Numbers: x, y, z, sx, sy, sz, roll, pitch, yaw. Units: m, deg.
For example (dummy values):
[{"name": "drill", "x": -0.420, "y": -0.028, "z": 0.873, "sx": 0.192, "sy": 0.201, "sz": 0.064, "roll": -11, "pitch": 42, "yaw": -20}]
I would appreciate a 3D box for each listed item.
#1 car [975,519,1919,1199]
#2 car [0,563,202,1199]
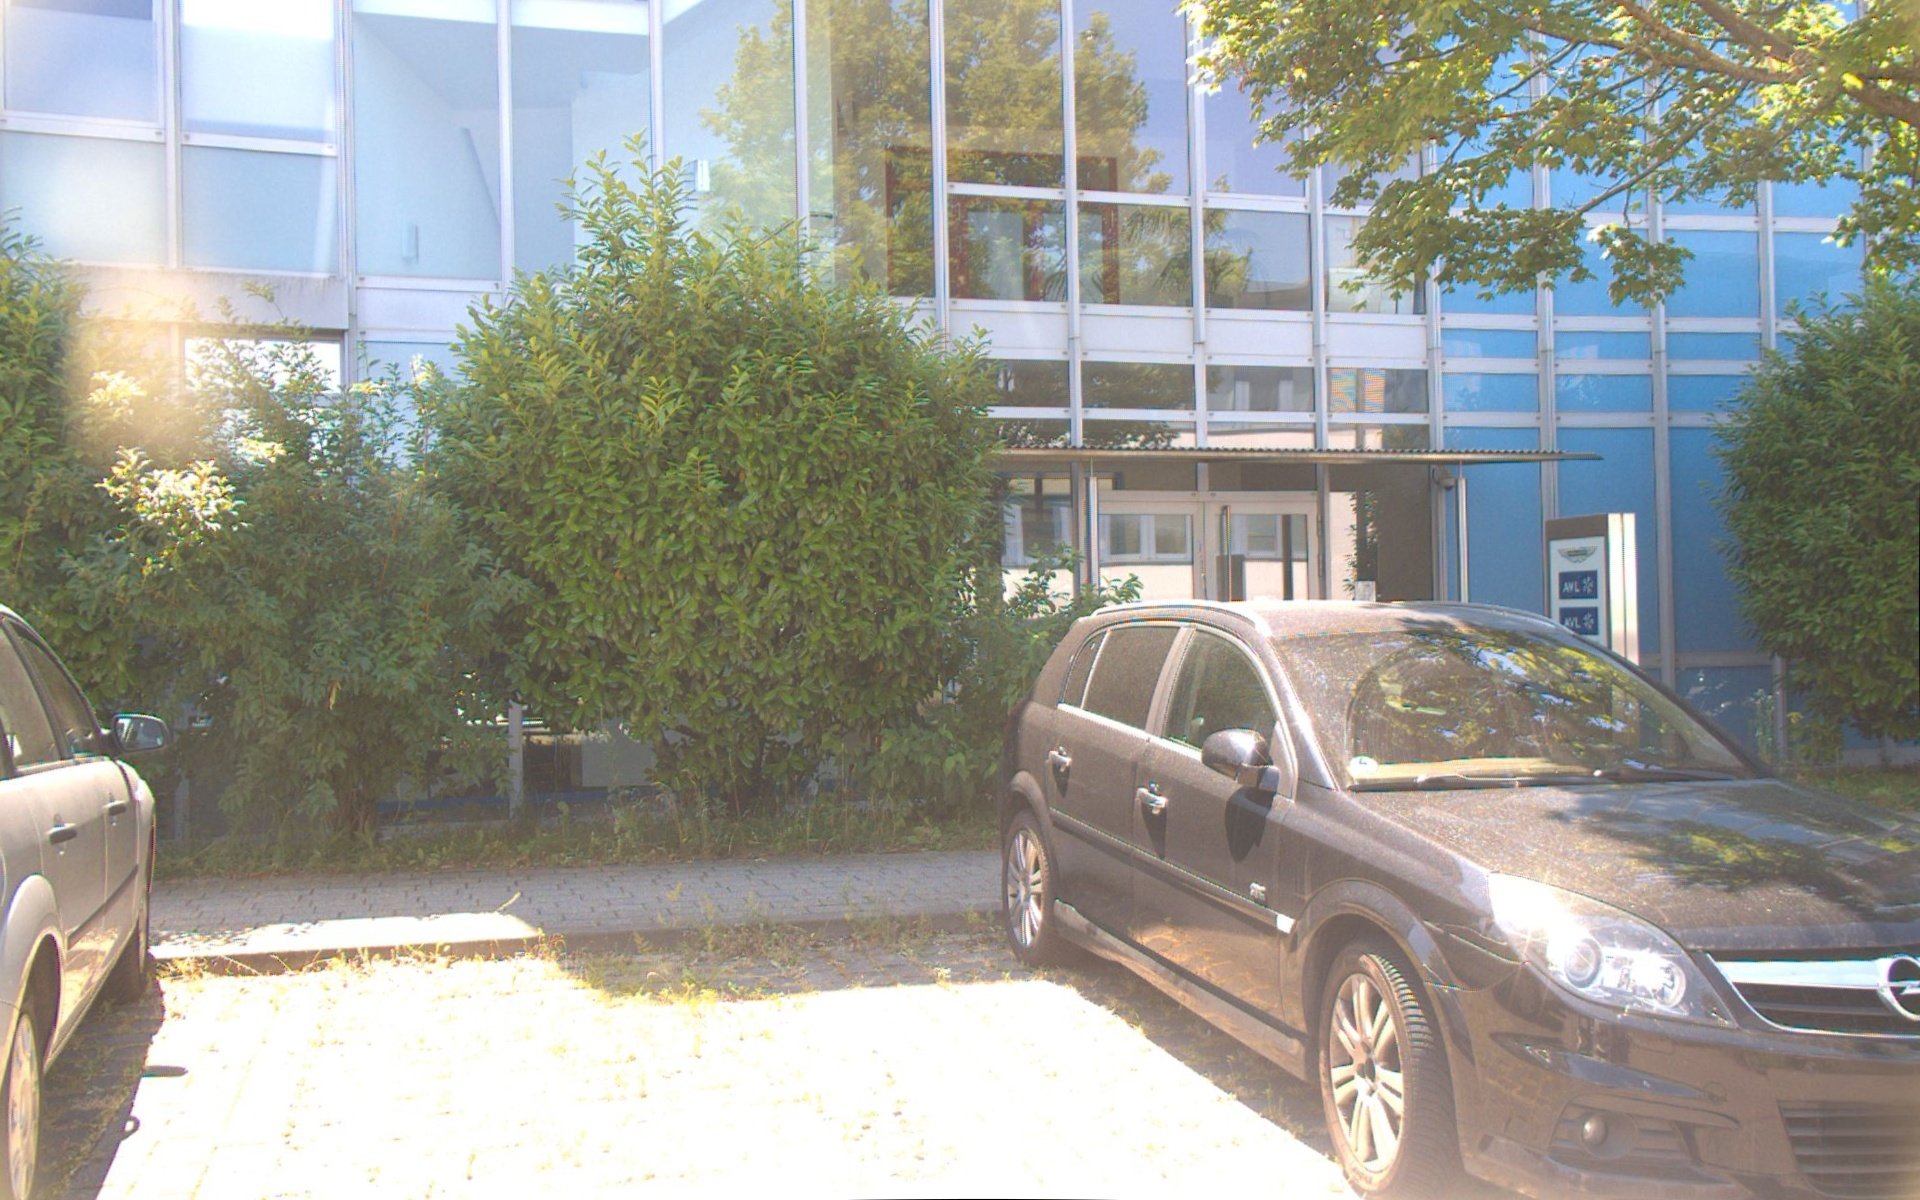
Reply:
[{"name": "car", "x": 1.481, "y": 0.661, "z": 5.563, "sx": 1.729, "sy": 1.576, "sz": 4.547, "roll": 0, "pitch": -1, "yaw": -15}, {"name": "car", "x": -3.229, "y": 0.690, "z": 4.531, "sx": 1.694, "sy": 1.505, "sz": 4.323, "roll": 0, "pitch": -1, "yaw": -20}]
